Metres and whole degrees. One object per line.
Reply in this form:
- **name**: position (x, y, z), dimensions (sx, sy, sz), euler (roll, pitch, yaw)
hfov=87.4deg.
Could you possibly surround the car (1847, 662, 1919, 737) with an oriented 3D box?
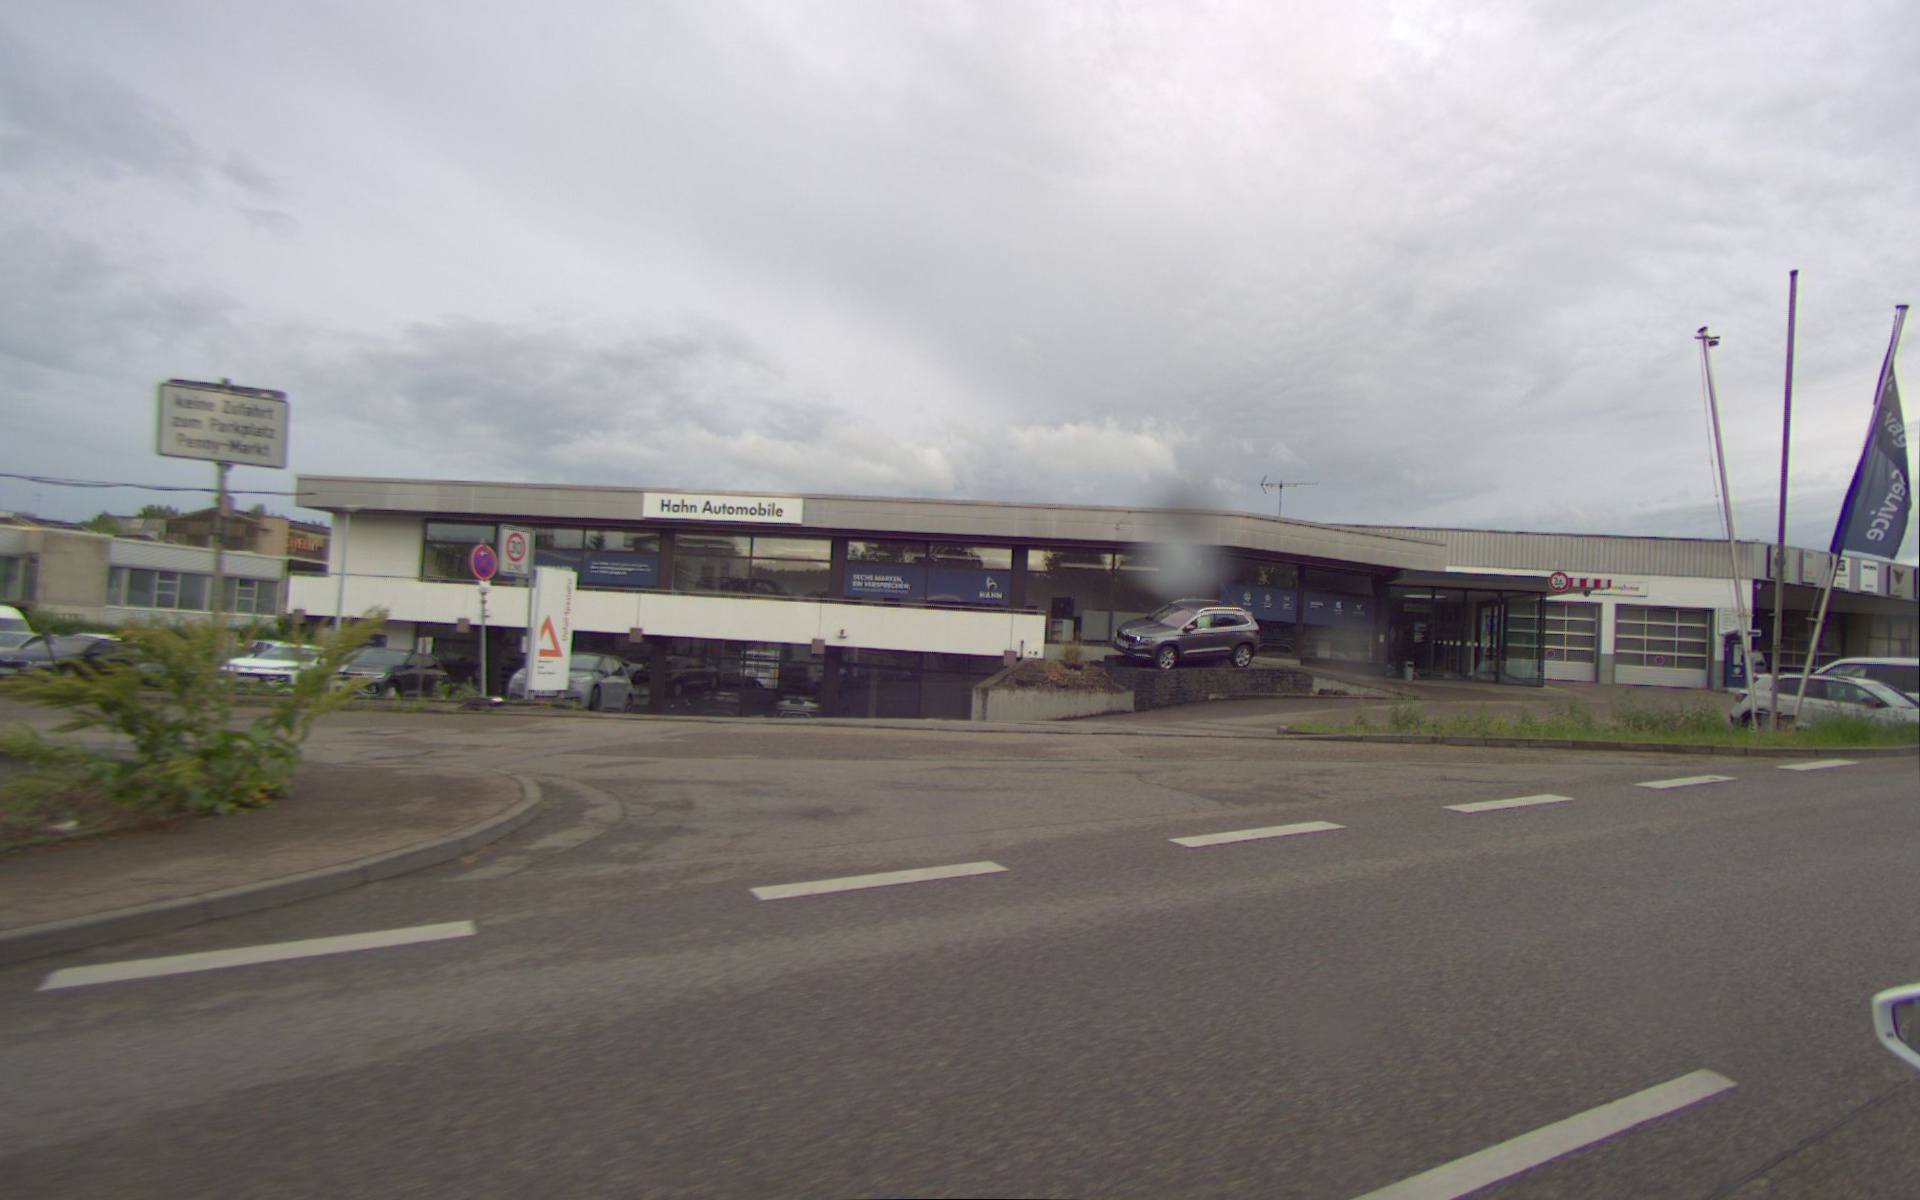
- **car**: position (25.235, 2.528, 24.981), dimensions (1.979, 1.821, 4.391), euler (2, -2, -31)

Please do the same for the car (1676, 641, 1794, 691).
- **car**: position (32.869, 2.842, 42.765), dimensions (1.948, 1.985, 4.490), euler (1, -4, 7)

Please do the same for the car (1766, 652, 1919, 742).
- **car**: position (20.753, 2.105, 22.060), dimensions (1.911, 1.821, 4.394), euler (1, -2, -29)

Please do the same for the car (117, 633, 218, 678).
- **car**: position (-37.898, 2.636, 48.054), dimensions (3.921, 2.039, 1.910), euler (0, -4, 20)

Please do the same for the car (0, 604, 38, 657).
- **car**: position (-40.659, 1.132, 40.943), dimensions (5.762, 2.040, 2.000), euler (2, -1, 20)

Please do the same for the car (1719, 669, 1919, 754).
- **car**: position (18.447, 2.245, 20.789), dimensions (1.802, 1.497, 3.992), euler (2, -2, -29)

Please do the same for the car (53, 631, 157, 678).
- **car**: position (-38.816, 2.476, 45.621), dimensions (3.921, 2.039, 1.818), euler (0, -4, 20)

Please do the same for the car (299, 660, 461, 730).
- **car**: position (-13.985, 2.255, 24.503), dimensions (1.745, 1.446, 3.990), euler (1, -2, -3)

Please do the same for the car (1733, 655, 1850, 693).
- **car**: position (35.116, 3.096, 42.572), dimensions (1.914, 1.434, 4.025), euler (0, -2, 6)

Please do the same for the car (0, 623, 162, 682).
- **car**: position (-23.883, 1.374, 26.964), dimensions (1.808, 1.446, 3.990), euler (1, -2, -3)

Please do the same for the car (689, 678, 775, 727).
- **car**: position (-8.210, 3.679, 36.548), dimensions (1.851, 1.446, 4.108), euler (1, -2, 5)

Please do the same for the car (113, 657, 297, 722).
- **car**: position (-19.330, 2.244, 25.965), dimensions (1.808, 1.446, 3.990), euler (1, -2, -3)

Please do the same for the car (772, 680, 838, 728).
- **car**: position (-5.585, 3.760, 36.671), dimensions (1.852, 1.446, 4.106), euler (1, -2, -1)

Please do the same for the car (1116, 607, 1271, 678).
- **car**: position (6.401, 1.184, 27.449), dimensions (4.195, 1.823, 1.395), euler (2, -3, -26)

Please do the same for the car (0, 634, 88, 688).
- **car**: position (-26.693, 1.679, 28.077), dimensions (1.553, 1.446, 3.592), euler (1, -2, -3)

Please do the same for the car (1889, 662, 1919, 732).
- **car**: position (27.263, 2.599, 26.116), dimensions (1.853, 1.821, 4.205), euler (2, -2, -31)

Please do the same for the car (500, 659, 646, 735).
- **car**: position (-8.630, 2.135, 22.795), dimensions (1.853, 1.446, 4.105), euler (1, -2, -3)

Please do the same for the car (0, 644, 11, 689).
- **car**: position (-29.110, 1.909, 28.269), dimensions (1.559, 1.306, 3.501), euler (1, -2, -3)

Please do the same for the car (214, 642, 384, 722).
- **car**: position (-16.639, 2.009, 25.543), dimensions (1.785, 1.811, 3.990), euler (1, -2, -3)

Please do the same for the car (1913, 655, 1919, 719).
- **car**: position (28.958, 2.434, 27.231), dimensions (1.853, 1.821, 4.205), euler (2, -2, -31)

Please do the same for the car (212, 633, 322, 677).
- **car**: position (-36.674, 2.881, 53.155), dimensions (5.273, 1.990, 2.000), euler (2, -1, 20)

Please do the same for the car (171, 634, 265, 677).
- **car**: position (-37.260, 2.788, 50.442), dimensions (3.921, 2.039, 1.855), euler (0, -4, 20)
